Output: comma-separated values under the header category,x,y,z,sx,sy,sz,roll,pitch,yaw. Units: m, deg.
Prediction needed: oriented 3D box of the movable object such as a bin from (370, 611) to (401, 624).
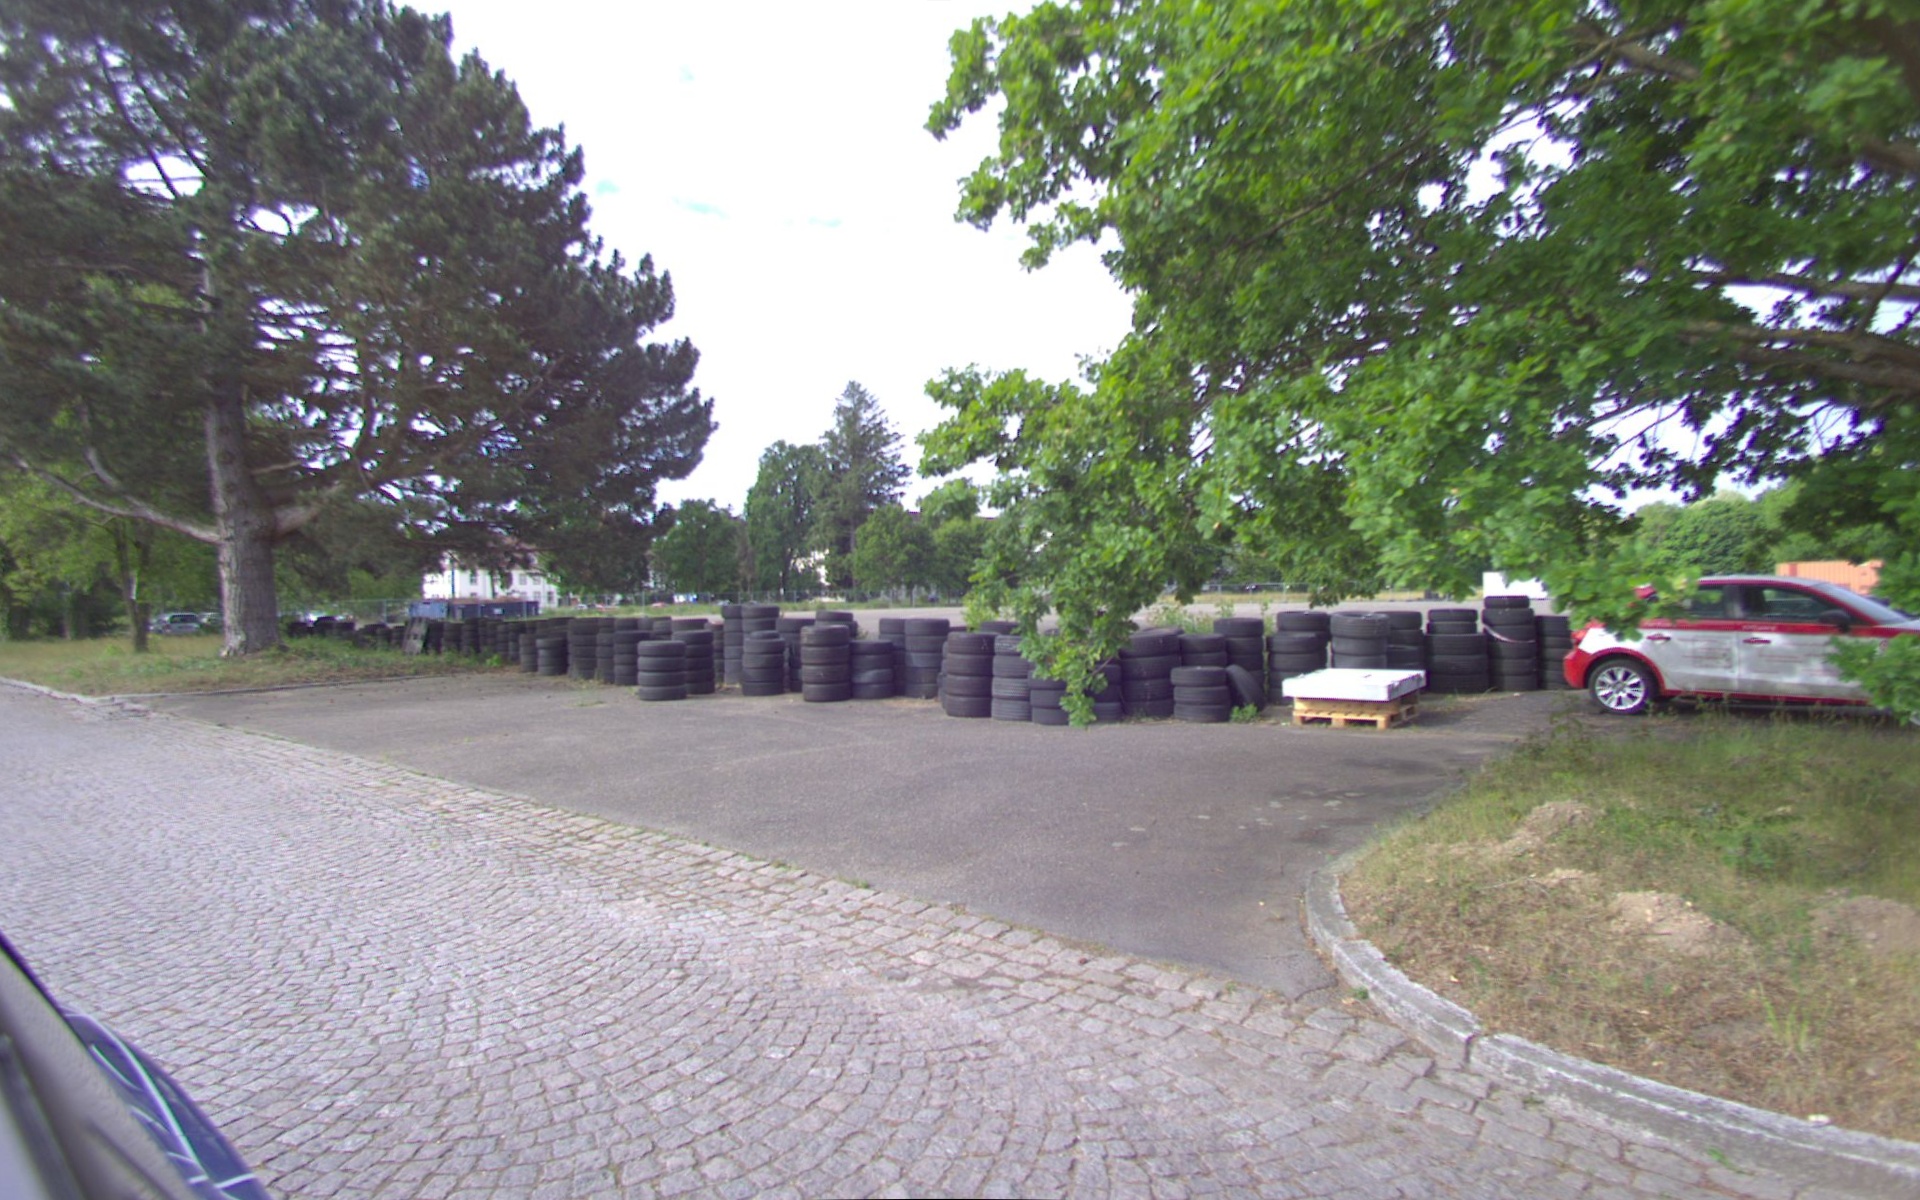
category,x,y,z,sx,sy,sz,roll,pitch,yaw
movable object such as a bin,-46.725,1.418,82.258,1.952,0.976,1.432,-1,0,33

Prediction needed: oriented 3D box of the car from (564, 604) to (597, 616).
category,x,y,z,sx,sy,sz,roll,pitch,yaw
car,-45.283,1.191,120.668,4.399,1.361,1.689,-1,0,40

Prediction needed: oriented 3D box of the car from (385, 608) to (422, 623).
category,x,y,z,sx,sy,sz,roll,pitch,yaw
car,-58.162,1.649,105.699,4.396,1.486,1.807,-1,0,38

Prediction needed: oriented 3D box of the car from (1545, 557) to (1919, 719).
category,x,y,z,sx,sy,sz,roll,pitch,yaw
car,8.485,0.344,10.299,1.606,1.444,4.067,-2,0,-44

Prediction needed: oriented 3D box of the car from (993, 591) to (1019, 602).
category,x,y,z,sx,sy,sz,roll,pitch,yaw
car,8.122,-0.680,177.606,4.288,1.735,1.806,-1,3,42

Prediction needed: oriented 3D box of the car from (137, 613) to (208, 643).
category,x,y,z,sx,sy,sz,roll,pitch,yaw
car,-39.771,1.431,51.096,4.415,1.427,1.807,-2,-2,38

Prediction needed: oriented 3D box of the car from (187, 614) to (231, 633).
category,x,y,z,sx,sy,sz,roll,pitch,yaw
car,-61.756,1.956,83.209,4.314,1.436,1.807,-1,0,38

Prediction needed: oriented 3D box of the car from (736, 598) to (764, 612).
category,x,y,z,sx,sy,sz,roll,pitch,yaw
car,-29.040,0.685,139.754,1.802,1.735,4.588,-2,0,-41
